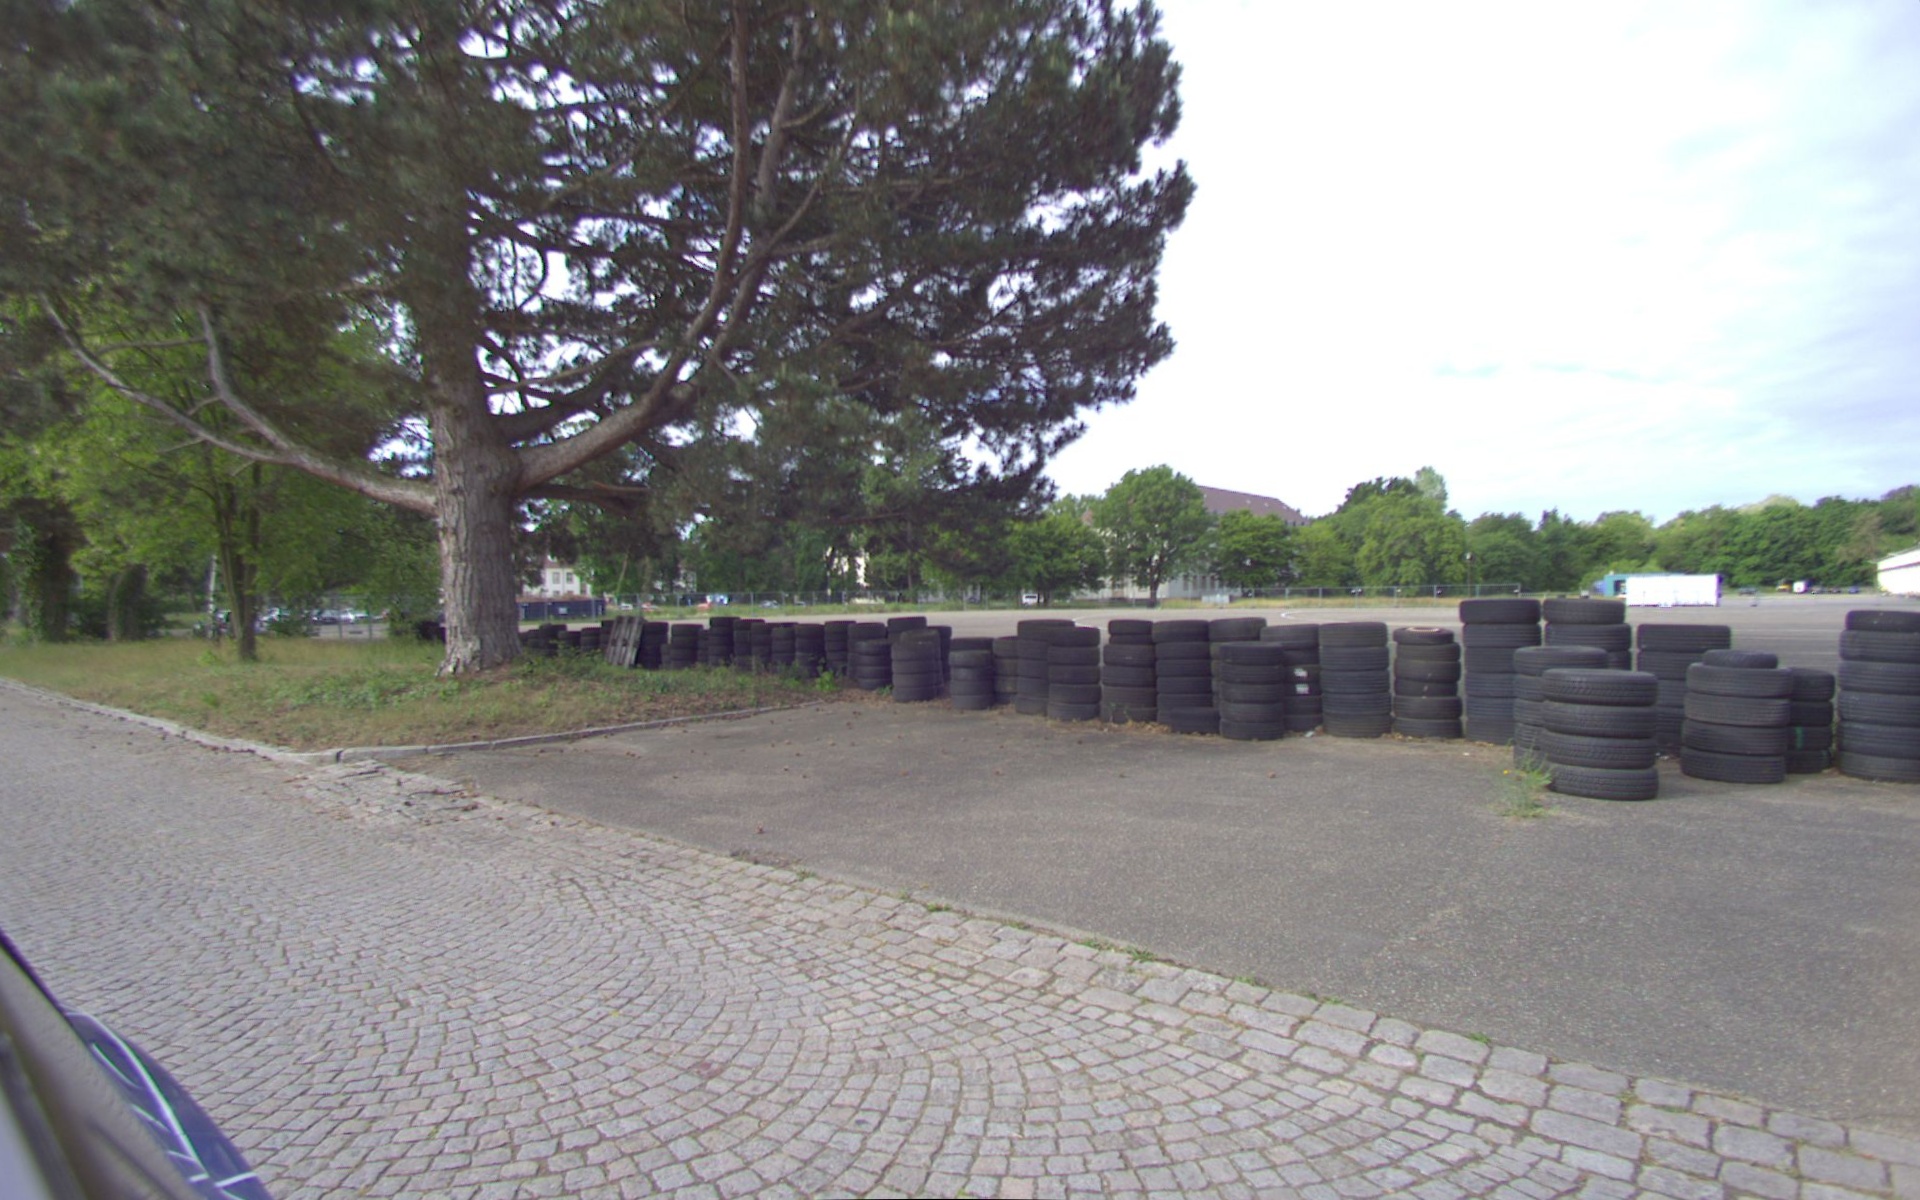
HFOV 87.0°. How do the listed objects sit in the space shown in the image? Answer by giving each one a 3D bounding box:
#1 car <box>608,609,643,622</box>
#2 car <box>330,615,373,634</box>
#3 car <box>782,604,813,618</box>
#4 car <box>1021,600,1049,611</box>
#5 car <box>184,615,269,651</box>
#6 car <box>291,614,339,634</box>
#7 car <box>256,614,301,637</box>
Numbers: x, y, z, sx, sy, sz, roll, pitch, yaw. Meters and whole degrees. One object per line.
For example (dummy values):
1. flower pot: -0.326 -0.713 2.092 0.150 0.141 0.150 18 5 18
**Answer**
1. car: -37.277 1.705 112.769 4.398 1.361 1.689 -1 0 40
2. car: -49.239 1.975 81.867 4.031 1.410 1.617 -1 0 37
3. car: -21.158 1.446 131.968 1.802 1.735 4.588 -1 0 -42
4. car: 12.283 0.880 166.609 4.288 1.735 1.806 -1 2 41
5. car: -31.408 1.422 43.297 4.415 1.427 1.807 -2 -3 38
6. car: -50.625 1.909 79.424 4.395 1.486 1.807 -1 0 37
7. car: -51.972 1.937 77.138 3.893 1.531 1.654 -4 -2 37
